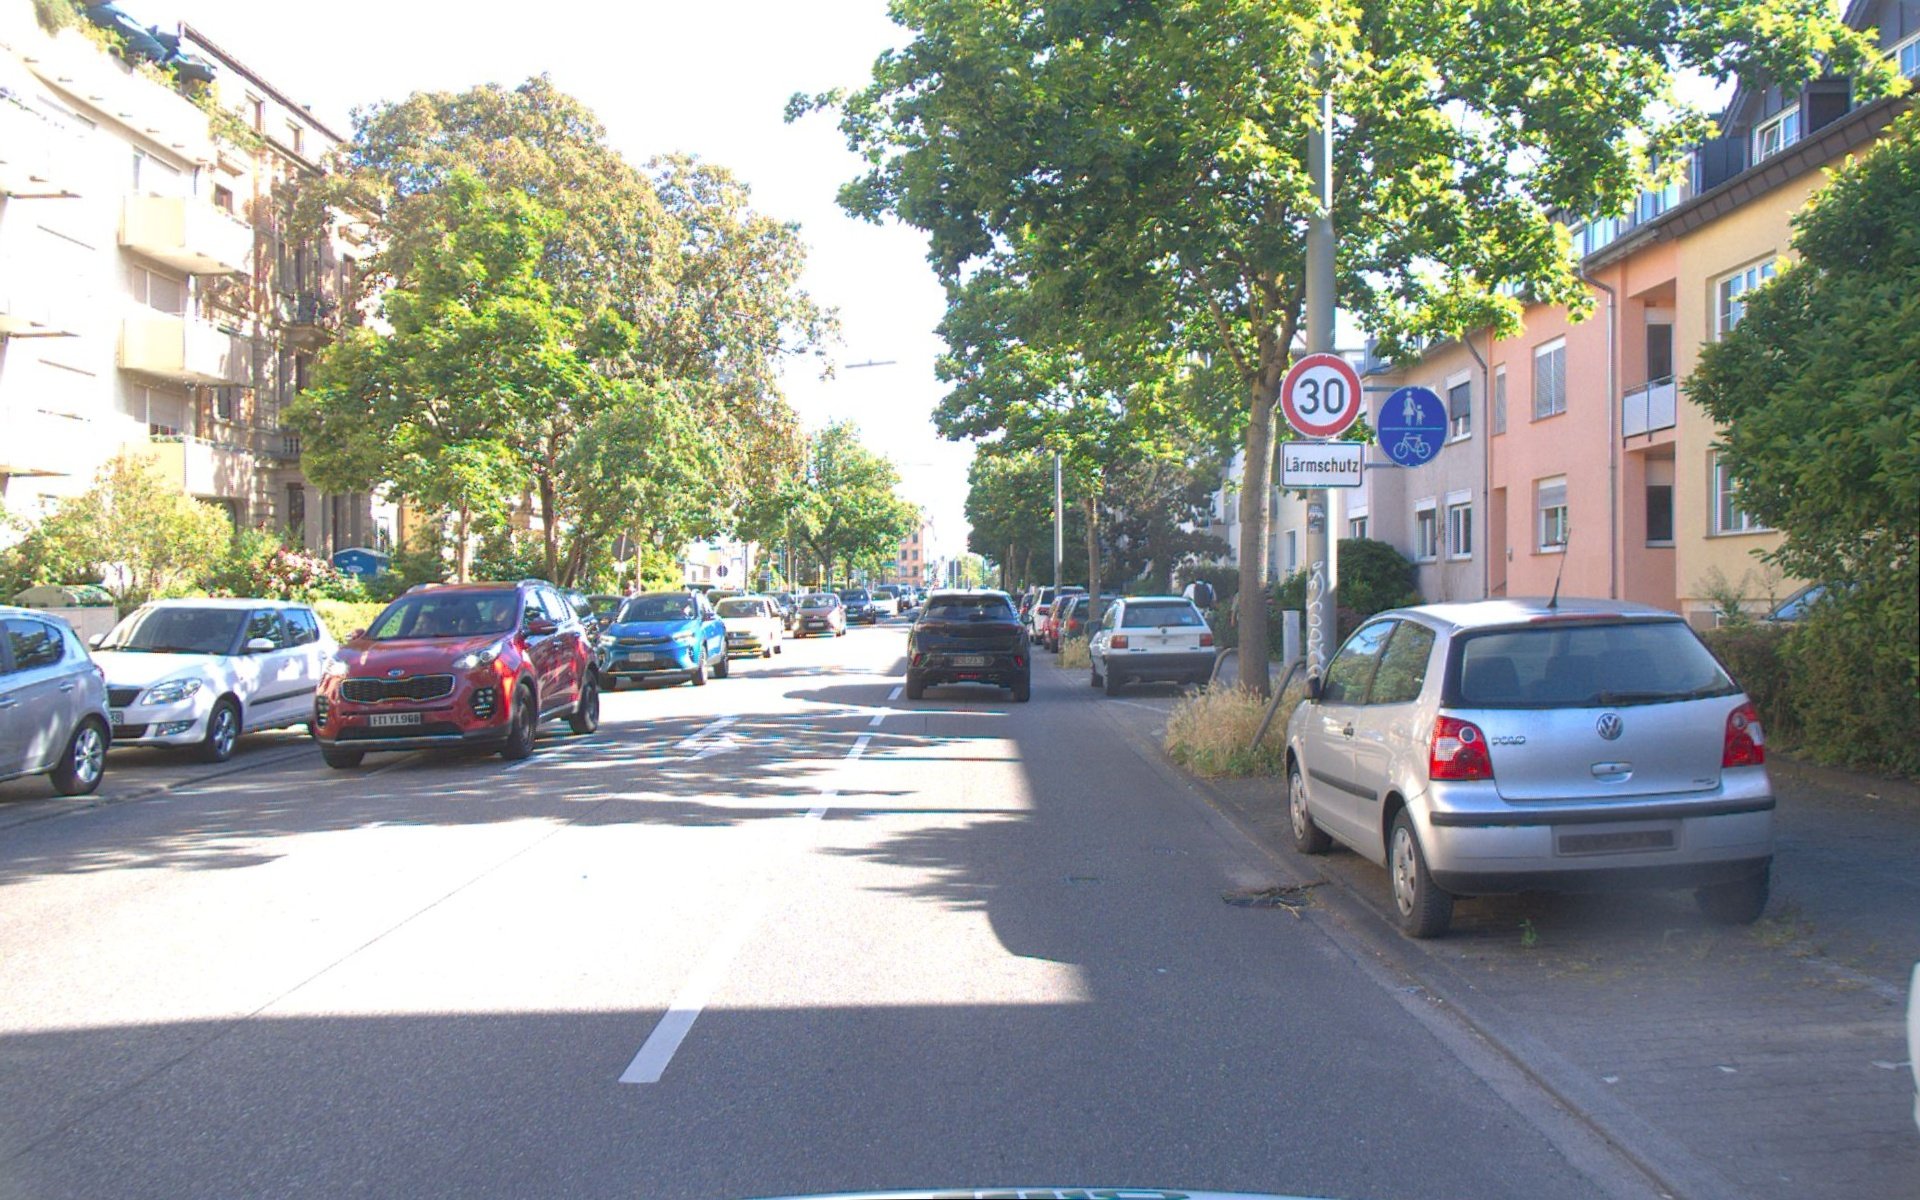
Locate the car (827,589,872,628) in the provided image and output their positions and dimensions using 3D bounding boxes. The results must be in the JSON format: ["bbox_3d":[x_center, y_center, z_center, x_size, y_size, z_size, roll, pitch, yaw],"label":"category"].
[{"bbox_3d":[-5.098,0.368,76.784,1.799,1.642,4.400,-2,0,-1],"label":"car"}]

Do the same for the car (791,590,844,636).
[{"bbox_3d":[-4.899,0.426,57.223,1.549,1.477,3.744,-1,0,-1],"label":"car"}]

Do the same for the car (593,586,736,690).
[{"bbox_3d":[-4.928,0.586,28.071,1.622,1.543,4.076,-3,0,0],"label":"car"}]

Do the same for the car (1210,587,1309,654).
[{"bbox_3d":[6.745,0.433,37.572,1.500,1.379,3.718,-3,0,0],"label":"car"}]

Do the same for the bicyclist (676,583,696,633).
[{"bbox_3d":[-9.758,0.285,58.864,0.596,1.785,0.691,0,0,0],"label":"bicyclist"}]

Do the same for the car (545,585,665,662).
[{"bbox_3d":[-7.435,0.464,34.961,1.568,1.503,3.932,1,0,2],"label":"car"}]

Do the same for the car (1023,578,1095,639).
[{"bbox_3d":[2.896,0.236,48.944,1.733,1.688,4.340,-1,0,-2],"label":"car"}]

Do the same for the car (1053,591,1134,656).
[{"bbox_3d":[2.988,0.499,37.571,1.500,1.379,3.718,-1,0,0],"label":"car"}]

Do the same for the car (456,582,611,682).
[{"bbox_3d":[-7.518,0.523,29.539,1.636,1.633,4.394,1,0,0],"label":"car"}]

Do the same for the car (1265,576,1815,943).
[{"bbox_3d":[2.767,0.656,8.799,1.535,1.482,3.865,-1,0,0],"label":"car"}]

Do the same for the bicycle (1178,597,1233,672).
[{"bbox_3d":[4.367,0.595,29.497,0.683,1.268,1.822,-1,0,0],"label":"bicycle"}]

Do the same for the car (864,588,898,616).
[{"bbox_3d":[-4.493,0.099,94.241,1.698,1.437,4.192,-2,0,0],"label":"car"}]

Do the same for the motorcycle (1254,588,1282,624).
[{"bbox_3d":[12.068,0.217,64.796,0.623,1.399,2.426,-1,0,0],"label":"motorcycle"}]

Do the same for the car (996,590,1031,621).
[{"bbox_3d":[2.595,0.247,80.808,1.553,1.420,4.454,-2,0,1],"label":"car"}]

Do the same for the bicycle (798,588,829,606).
[{"bbox_3d":[-9.940,-0.185,112.406,2.170,1.213,0.443,-1,0,-38],"label":"bicycle"}]

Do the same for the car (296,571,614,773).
[{"bbox_3d":[-4.774,0.592,16.324,1.686,1.645,4.300,-3,1,1],"label":"car"}]

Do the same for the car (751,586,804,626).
[{"bbox_3d":[-7.504,0.237,68.208,1.643,1.582,4.008,1,0,1],"label":"car"}]

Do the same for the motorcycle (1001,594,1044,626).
[{"bbox_3d":[2.615,0.439,69.299,0.689,1.294,2.410,-2,0,-27],"label":"motorcycle"}]

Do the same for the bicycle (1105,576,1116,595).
[{"bbox_3d":[10.597,-1.040,116.453,0.610,1.310,1.842,-3,0,0],"label":"bicycle"}]

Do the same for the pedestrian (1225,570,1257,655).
[{"bbox_3d":[5.738,0.259,33.812,0.527,1.706,0.493,-1,0,0],"label":"pedestrian"}]

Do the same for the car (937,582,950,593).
[{"bbox_3d":[-2.295,-1.764,234.845,1.736,1.478,3.884,0,0,-2],"label":"car"}]

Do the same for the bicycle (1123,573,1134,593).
[{"bbox_3d":[11.790,-1.196,115.940,0.579,1.310,1.689,-3,0,0],"label":"bicycle"}]

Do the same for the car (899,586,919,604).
[{"bbox_3d":[-4.937,-0.504,161.410,1.770,1.676,4.672,-2,0,-1],"label":"car"}]

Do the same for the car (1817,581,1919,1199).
[{"bbox_3d":[2.958,0.697,1.965,1.703,1.508,4.196,-1,0,0],"label":"car"}]

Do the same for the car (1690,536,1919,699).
[{"bbox_3d":[9.776,0.088,16.748,3.906,1.466,1.831,-4,0,0],"label":"car"}]

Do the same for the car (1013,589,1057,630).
[{"bbox_3d":[2.901,0.362,64.487,1.586,1.525,3.650,-1,0,1],"label":"car"}]

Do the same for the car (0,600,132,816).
[{"bbox_3d":[-7.508,0.767,11.612,1.473,1.501,3.895,1,0,-1],"label":"car"}]

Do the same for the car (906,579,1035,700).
[{"bbox_3d":[0.143,0.535,24.181,1.709,1.601,3.558,1,0,0],"label":"car"}]

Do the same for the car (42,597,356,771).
[{"bbox_3d":[-7.461,0.748,16.593,1.372,1.515,3.686,1,0,1],"label":"car"}]

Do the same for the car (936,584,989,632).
[{"bbox_3d":[0.118,0.259,57.871,1.792,1.606,3.840,0,0,1],"label":"car"}]

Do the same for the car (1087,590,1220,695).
[{"bbox_3d":[2.884,0.587,25.331,1.615,1.427,3.971,-2,0,1],"label":"car"}]

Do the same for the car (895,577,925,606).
[{"bbox_3d":[-3.564,-0.626,118.836,1.975,1.986,5.177,-2,0,-1],"label":"car"}]

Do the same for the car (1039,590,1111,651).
[{"bbox_3d":[2.901,0.481,42.297,1.501,1.475,3.717,-1,0,-1],"label":"car"}]

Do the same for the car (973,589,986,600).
[{"bbox_3d":[3.066,-0.834,256.762,1.952,1.546,4.001,2,0,2],"label":"car"}]

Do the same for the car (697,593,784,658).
[{"bbox_3d":[-5.219,0.566,39.648,1.601,1.428,3.735,-2,0,-1],"label":"car"}]

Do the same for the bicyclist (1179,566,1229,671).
[{"bbox_3d":[4.335,0.314,29.442,0.709,1.824,1.015,-1,0,0],"label":"bicyclist"}]

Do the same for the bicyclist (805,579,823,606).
[{"bbox_3d":[-9.921,-0.508,112.402,1.044,1.856,0.652,-1,0,-38],"label":"bicyclist"}]
